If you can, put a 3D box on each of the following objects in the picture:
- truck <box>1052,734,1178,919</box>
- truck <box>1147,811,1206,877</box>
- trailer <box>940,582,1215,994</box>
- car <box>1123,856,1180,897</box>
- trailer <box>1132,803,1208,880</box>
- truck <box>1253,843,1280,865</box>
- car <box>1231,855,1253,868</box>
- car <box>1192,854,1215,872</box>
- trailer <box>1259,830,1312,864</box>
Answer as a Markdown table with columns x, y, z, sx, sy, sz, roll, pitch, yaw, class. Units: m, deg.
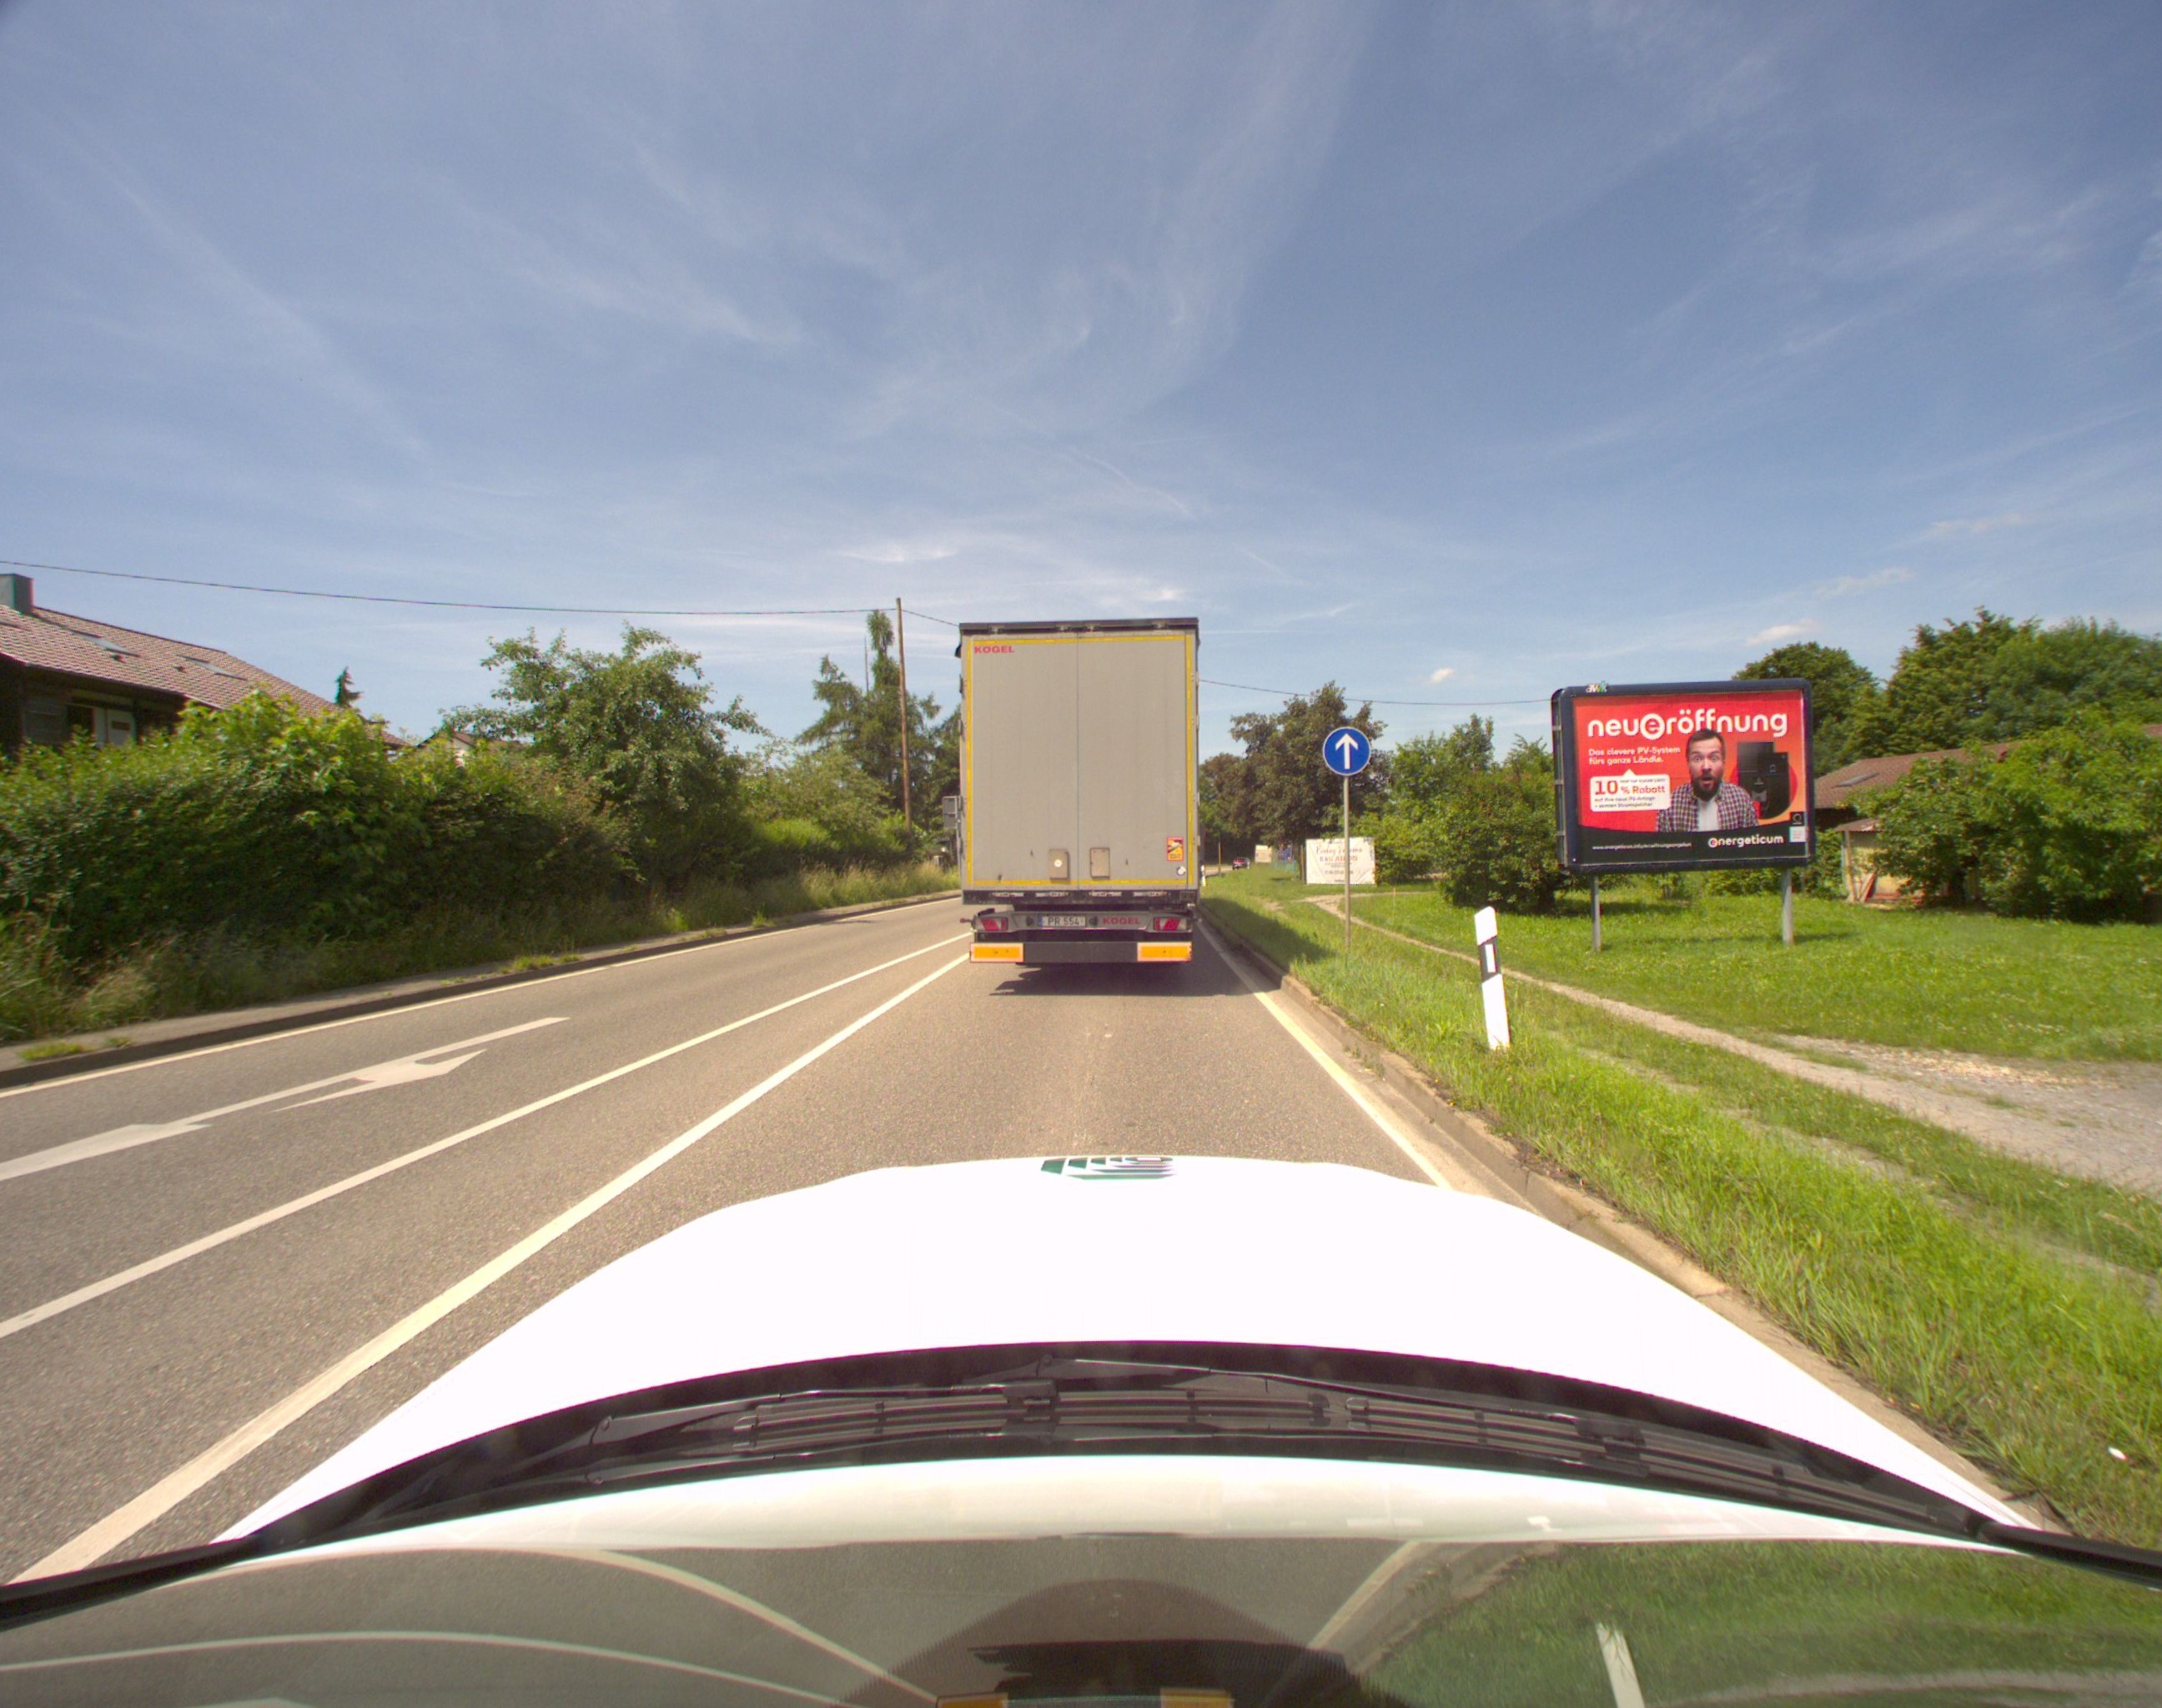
| x | y | z | sx | sy | sz | roll | pitch | yaw | class |
| --- | --- | --- | --- | --- | --- | --- | --- | --- | --- |
| 1.131 | -0.631 | 21.565 | 2.731 | 4.165 | 6.156 | -1 | 0 | 8 | truck |
| 7.336 | -0.706 | 61.508 | 3.912 | 4.574 | 7.172 | -1 | 0 | 10 | truck |
| 0.469 | -0.705 | 14.485 | 2.774 | 4.205 | 12.128 | -1 | 0 | 5 | trailer |
| 2.911 | 0.862 | 32.952 | 1.982 | 1.530 | 4.010 | 0 | 0 | 9 | car |
| 6.255 | -0.796 | 54.681 | 3.866 | 4.520 | 12.754 | -1 | 0 | 11 | trailer |
| 24.309 | -0.028 | 106.366 | 2.398 | 2.838 | 5.443 | -1 | 0 | 24 | truck |
| 18.893 | 0.864 | 95.337 | 1.826 | 1.486 | 4.021 | -1 | 0 | 20 | car |
| 13.241 | 0.912 | 88.022 | 1.979 | 1.837 | 4.016 | -1 | 0 | 14 | car |
| 30.812 | -1.068 | 122.013 | 5.133 | 4.628 | 15.984 | -1 | 0 | 23 | trailer |
